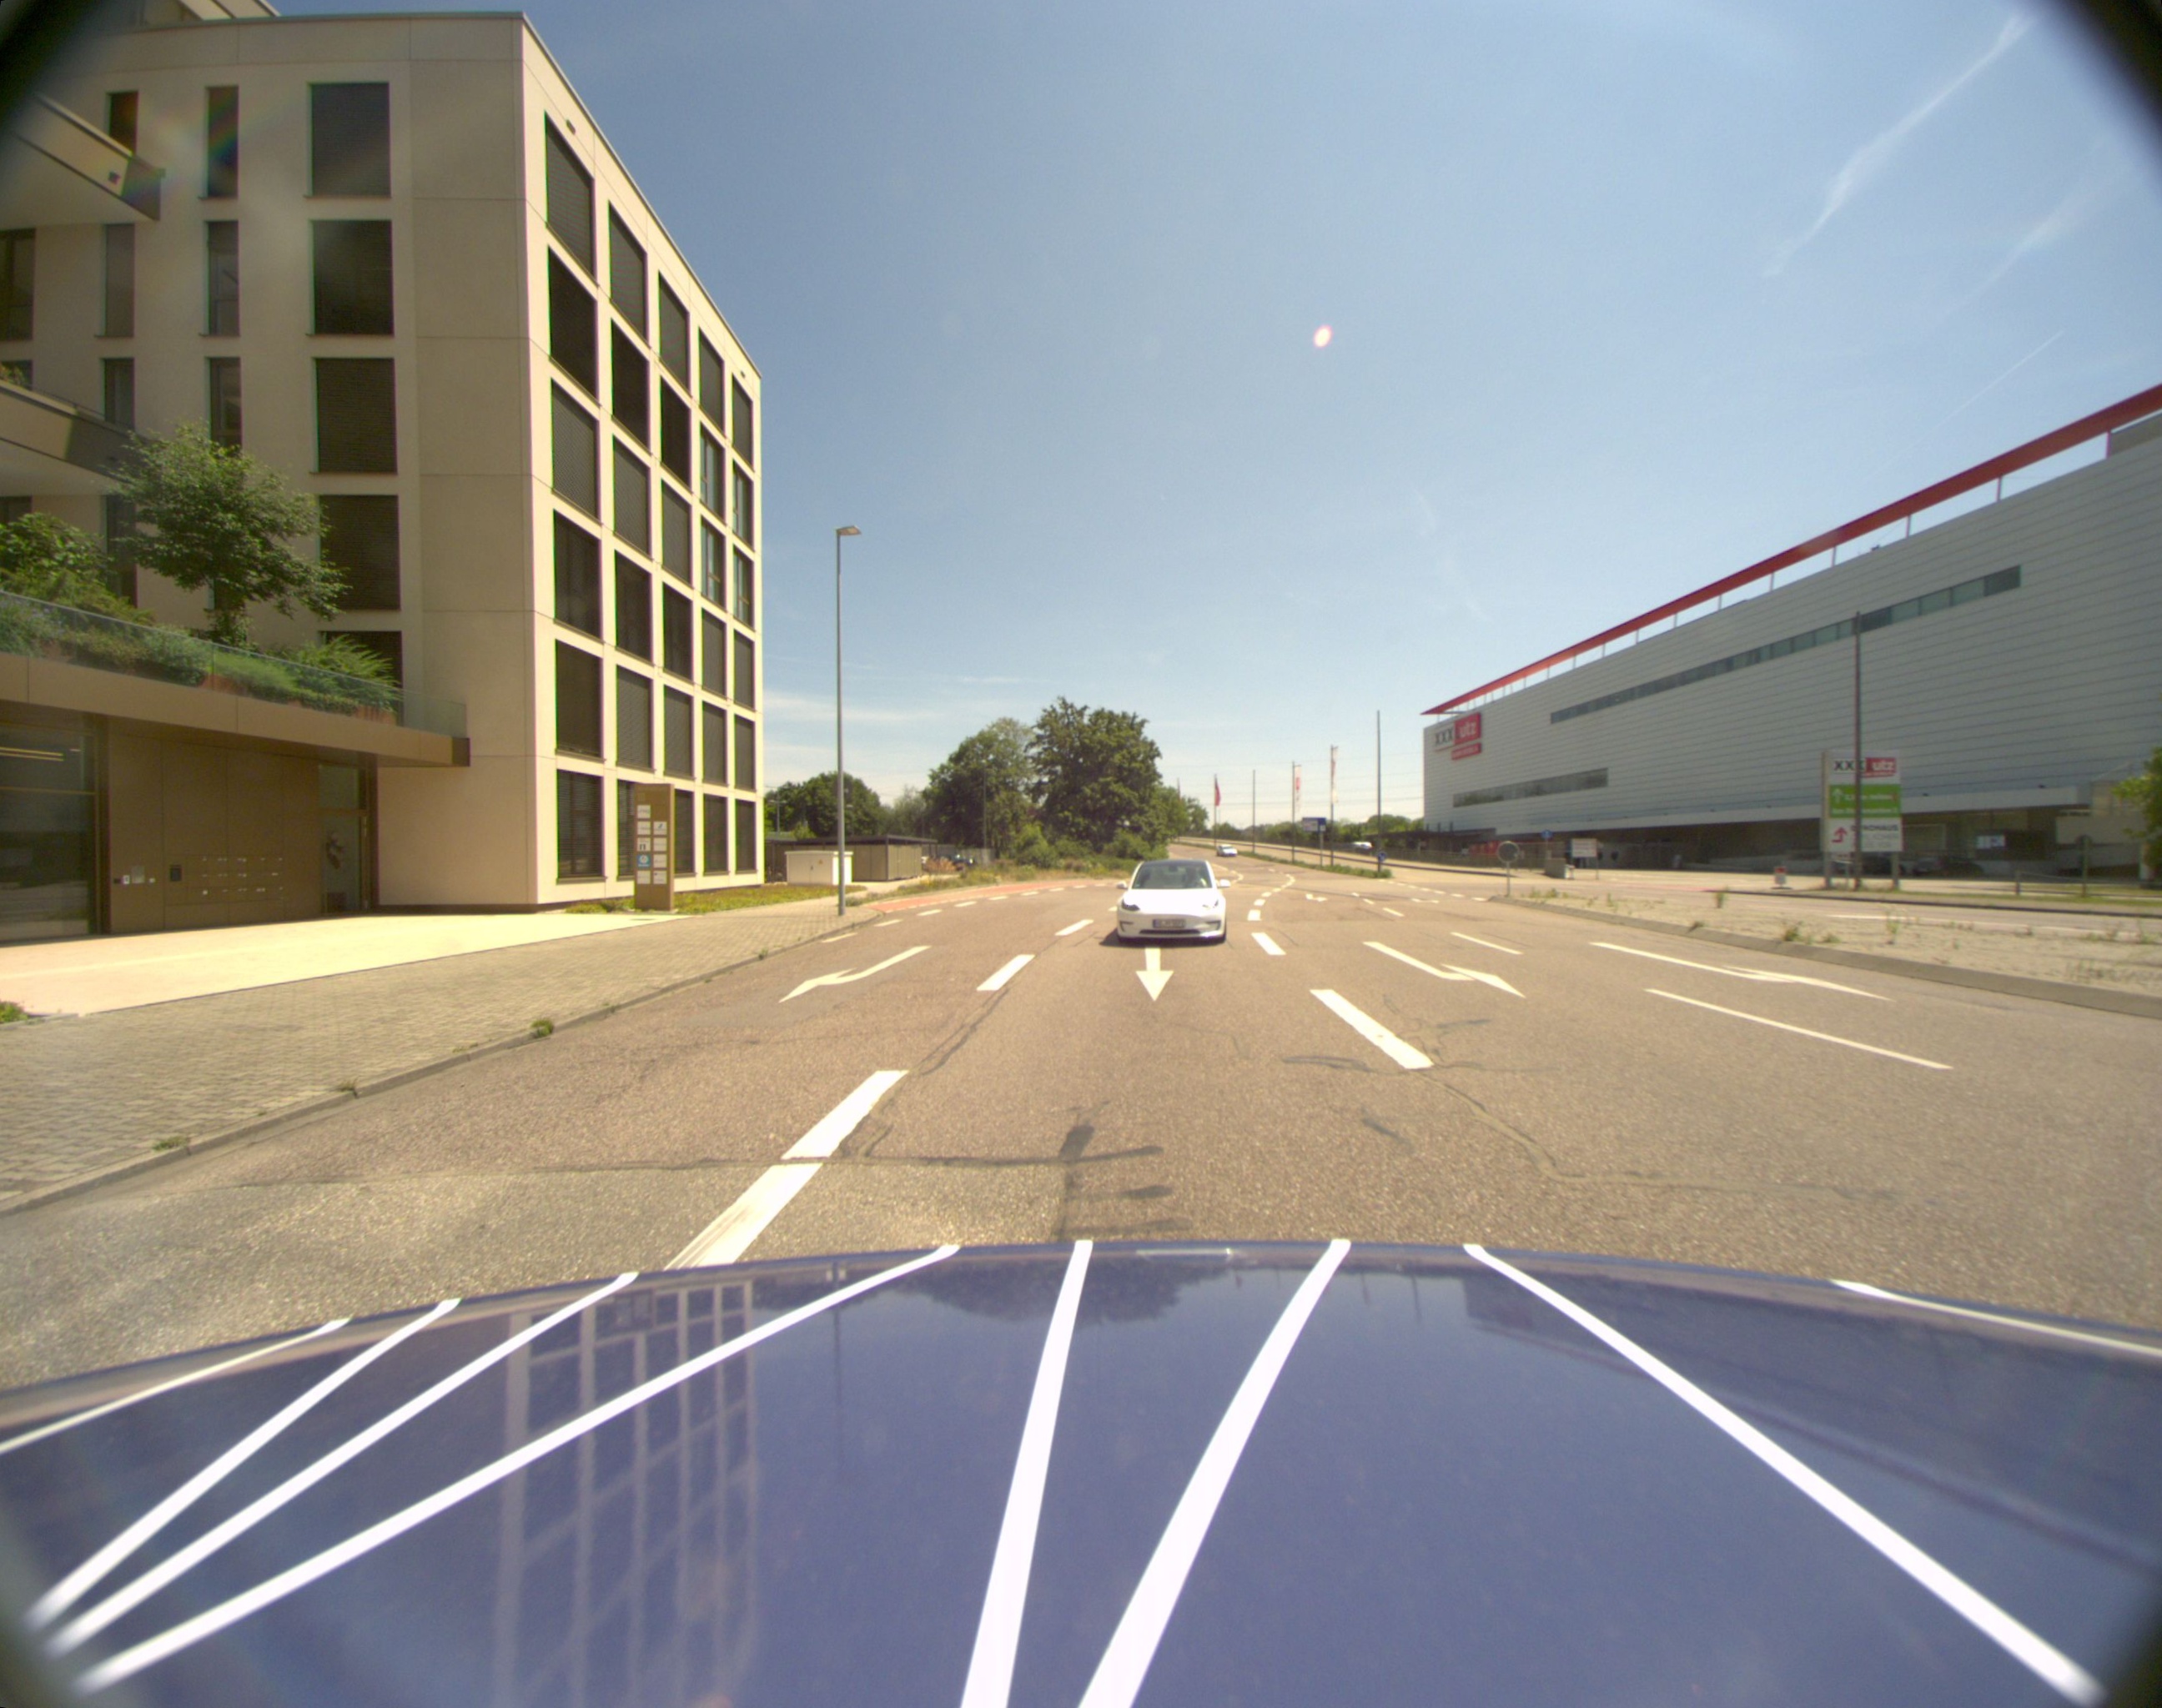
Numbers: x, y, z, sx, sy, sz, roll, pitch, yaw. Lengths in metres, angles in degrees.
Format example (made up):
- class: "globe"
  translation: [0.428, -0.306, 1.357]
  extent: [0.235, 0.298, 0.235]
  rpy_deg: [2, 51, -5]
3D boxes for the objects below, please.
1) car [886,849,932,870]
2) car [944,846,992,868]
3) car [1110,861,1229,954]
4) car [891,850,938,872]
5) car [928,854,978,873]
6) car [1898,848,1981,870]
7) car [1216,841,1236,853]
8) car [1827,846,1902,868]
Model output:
- class: "car"
  translation: [-16.794, 0.478, 74.272]
  extent: [4.005, 2.002, 1.996]
  rpy_deg: [0, 0, -26]
- class: "car"
  translation: [-10.513, 0.261, 70.706]
  extent: [4.005, 1.941, 1.996]
  rpy_deg: [0, 0, -26]
- class: "car"
  translation: [1.721, 0.885, 14.401]
  extent: [1.879, 1.417, 4.409]
  rpy_deg: [-1, 0, 8]
- class: "car"
  translation: [-15.677, 0.615, 71.580]
  extent: [4.005, 2.002, 1.996]
  rpy_deg: [0, 0, -26]
- class: "car"
  translation: [-11.266, 0.823, 66.676]
  extent: [4.005, 1.652, 1.834]
  rpy_deg: [0, 1, -24]
- class: "car"
  translation: [59.416, 0.345, 52.636]
  extent: [3.483, 1.487, 1.959]
  rpy_deg: [0, 1, 1]
- class: "car"
  translation: [19.420, -0.994, 101.607]
  extent: [1.735, 1.441, 4.229]
  rpy_deg: [-2, 1, -1]
- class: "car"
  translation: [59.407, 0.222, 57.673]
  extent: [3.747, 1.610, 1.912]
  rpy_deg: [0, 1, 0]
